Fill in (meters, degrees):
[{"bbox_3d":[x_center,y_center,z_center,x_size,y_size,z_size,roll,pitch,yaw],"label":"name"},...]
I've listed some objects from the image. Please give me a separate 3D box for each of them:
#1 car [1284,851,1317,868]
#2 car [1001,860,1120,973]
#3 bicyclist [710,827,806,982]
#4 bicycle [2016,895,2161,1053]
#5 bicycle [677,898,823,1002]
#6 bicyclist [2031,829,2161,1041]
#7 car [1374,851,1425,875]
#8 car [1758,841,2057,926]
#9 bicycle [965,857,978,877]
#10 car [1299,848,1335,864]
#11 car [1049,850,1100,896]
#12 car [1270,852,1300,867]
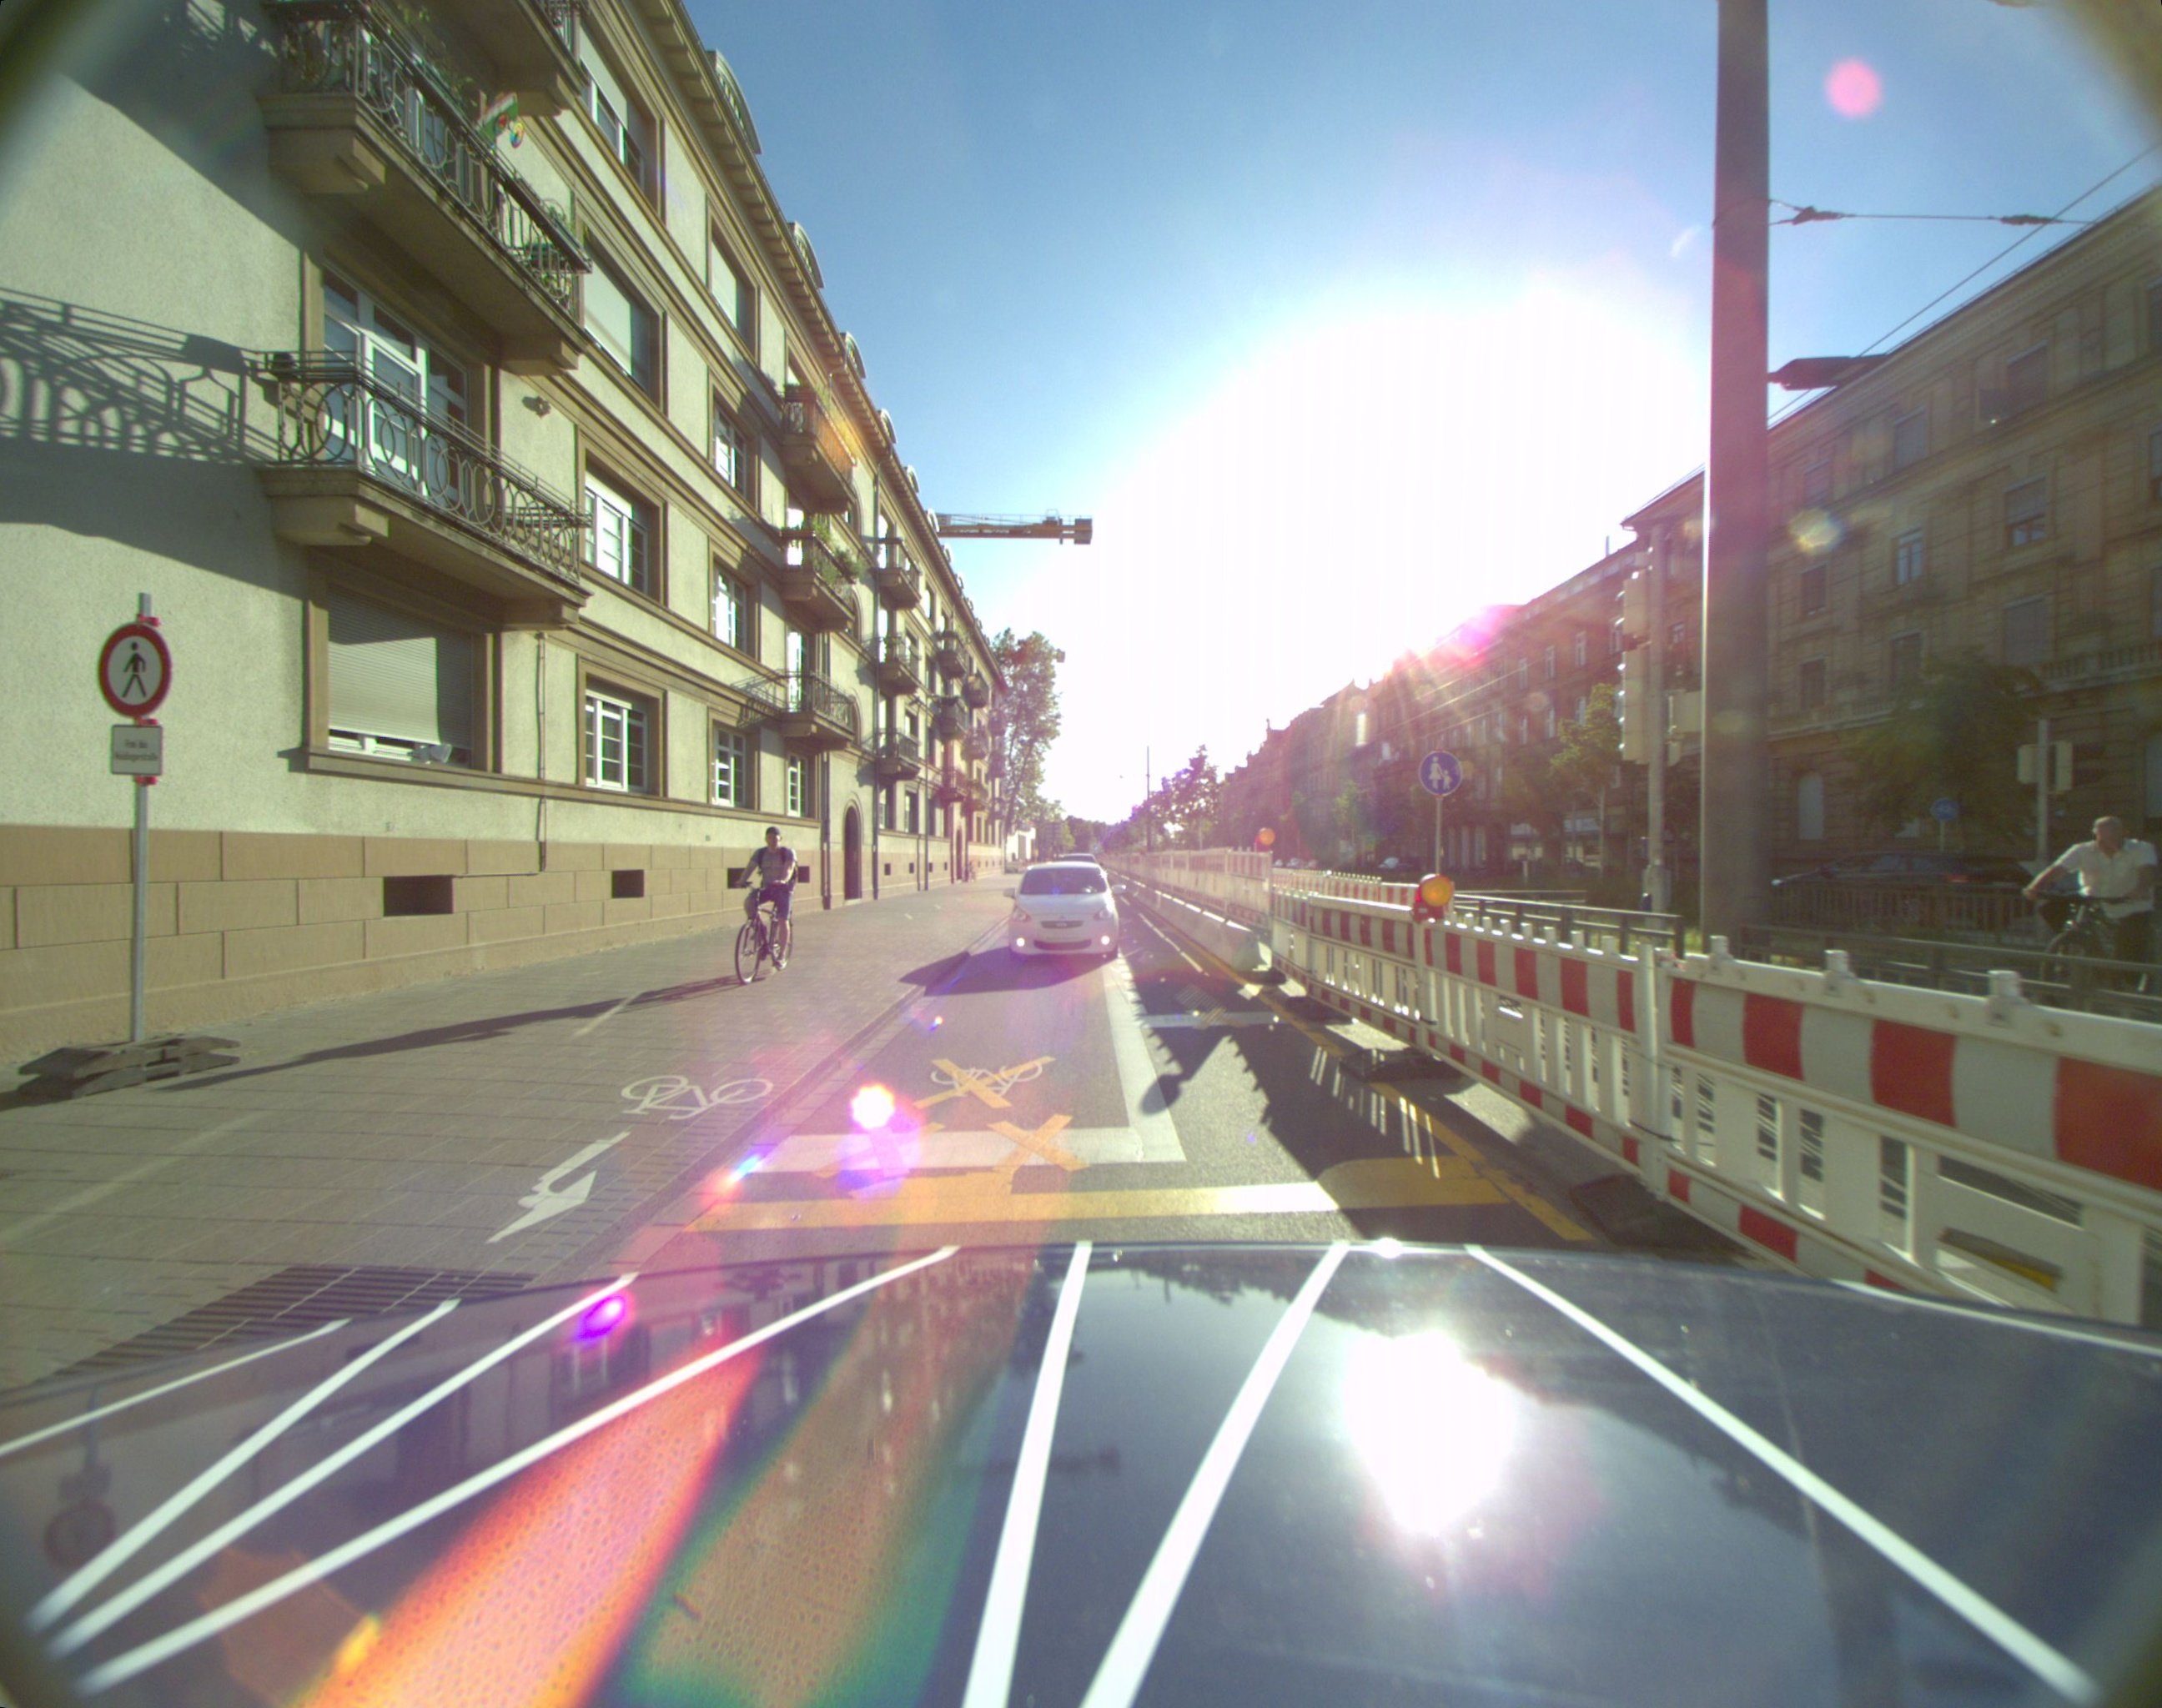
[{"bbox_3d":[22.721,0.538,78.815,1.999,1.688,4.887,-2,0,0],"label":"car"},{"bbox_3d":[-0.266,0.907,12.915,1.634,1.499,4.350,-2,0,1],"label":"car"},{"bbox_3d":[-3.819,0.570,9.056,0.734,1.753,0.937,0,1,0],"label":"bicyclist"},{"bbox_3d":[9.364,1.000,6.771,2.000,1.147,0.854,-1,1,-26],"label":"bicycle"},{"bbox_3d":[-3.838,1.068,9.051,0.769,0.947,2.198,0,0,0],"label":"bicycle"},{"bbox_3d":[9.283,0.668,6.756,0.886,1.763,0.854,-1,1,-26],"label":"bicyclist"},{"bbox_3d":[23.536,0.618,56.280,1.943,1.648,4.545,-2,0,2],"label":"car"},{"bbox_3d":[17.908,0.550,16.866,1.800,1.630,4.476,-1,1,1],"label":"car"},{"bbox_3d":[-6.265,0.712,43.558,0.419,1.089,2.198,0,0,1],"label":"bicycle"},{"bbox_3d":[22.581,0.151,72.768,1.999,1.429,4.308,-2,0,0],"label":"car"},{"bbox_3d":[-0.253,0.745,31.769,1.900,1.730,4.000,-2,0,0],"label":"car"},{"bbox_3d":[22.839,0.620,85.091,1.998,1.529,4.984,-2,0,1],"label":"car"}]
